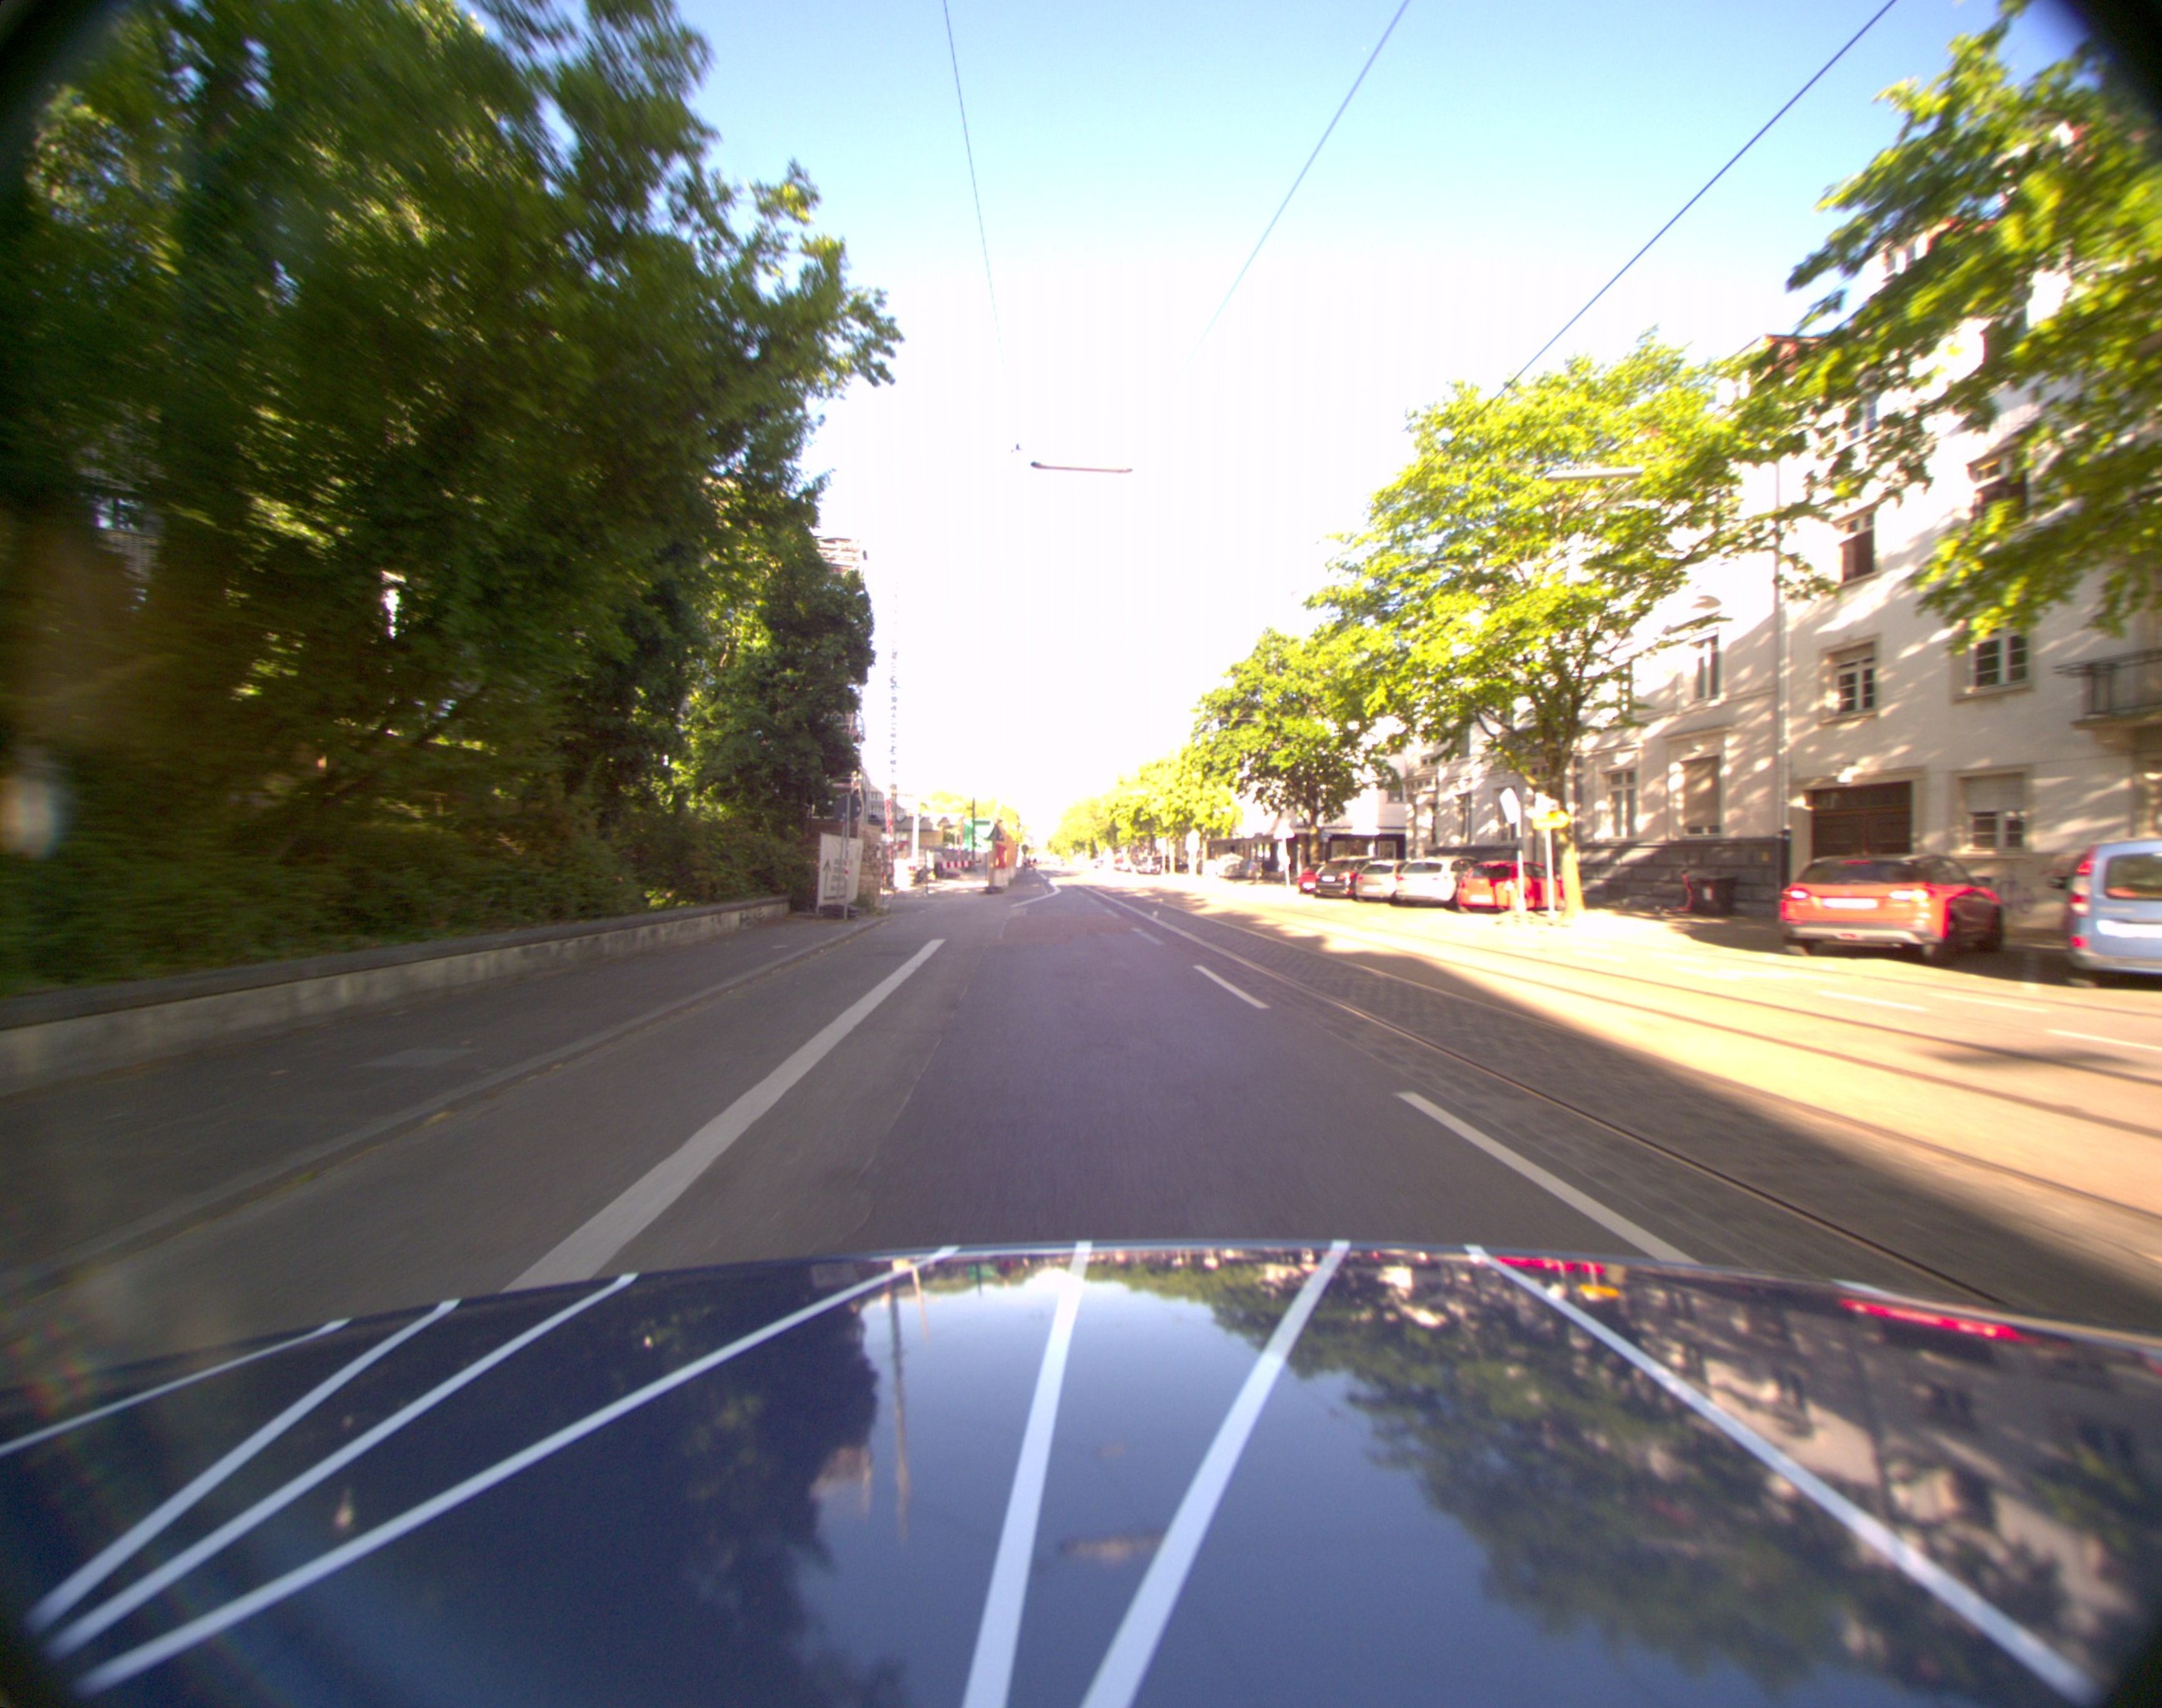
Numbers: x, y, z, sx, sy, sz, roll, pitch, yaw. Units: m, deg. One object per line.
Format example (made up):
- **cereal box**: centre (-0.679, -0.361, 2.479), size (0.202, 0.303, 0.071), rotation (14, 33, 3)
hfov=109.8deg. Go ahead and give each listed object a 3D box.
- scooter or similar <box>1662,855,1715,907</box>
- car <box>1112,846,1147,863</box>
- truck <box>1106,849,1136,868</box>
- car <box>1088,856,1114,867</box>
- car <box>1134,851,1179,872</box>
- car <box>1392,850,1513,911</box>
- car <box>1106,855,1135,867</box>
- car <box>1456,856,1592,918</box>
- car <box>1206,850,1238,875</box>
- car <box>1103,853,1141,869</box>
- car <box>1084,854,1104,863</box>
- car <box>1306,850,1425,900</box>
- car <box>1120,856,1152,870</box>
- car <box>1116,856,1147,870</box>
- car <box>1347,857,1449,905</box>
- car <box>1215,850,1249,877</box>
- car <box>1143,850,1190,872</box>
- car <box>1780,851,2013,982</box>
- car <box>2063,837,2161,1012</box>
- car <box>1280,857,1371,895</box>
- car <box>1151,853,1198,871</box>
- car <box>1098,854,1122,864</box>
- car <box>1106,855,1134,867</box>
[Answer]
- **scooter or similar**: centre (16.301, 0.695, 20.421), size (0.401, 1.349, 1.286), rotation (1, 0, 1)
- **car**: centre (5.846, 0.052, 91.156), size (3.806, 1.927, 1.671), rotation (-2, 1, -9)
- **truck**: centre (5.546, 0.609, 105.624), size (3.772, 2.409, 1.672), rotation (-2, 1, -4)
- **car**: centre (3.210, 1.112, 120.715), size (3.773, 1.584, 1.671), rotation (-2, 1, -9)
- **car**: centre (7.802, 0.747, 78.500), size (4.309, 1.940, 1.671), rotation (-2, 1, -9)
- **car**: centre (12.203, 0.799, 24.873), size (4.208, 1.714, 1.780), rotation (-3, 2, -36)
- **car**: centre (5.636, 0.975, 108.807), size (3.773, 1.584, 1.671), rotation (-2, 1, -9)
- **car**: centre (12.885, 0.893, 22.034), size (4.208, 1.549, 1.636), rotation (-2, 1, -32)
- **car**: centre (10.958, 0.673, 59.150), size (1.672, 1.886, 3.214), rotation (0, 0, -4)
- **car**: centre (4.831, 0.812, 89.077), size (4.102, 1.767, 1.671), rotation (-2, 1, -9)
- **car**: centre (2.454, 0.807, 144.609), size (3.622, 1.492, 1.503), rotation (-2, 1, -9)
- **car**: centre (11.332, 0.783, 30.229), size (4.365, 1.704, 1.944), rotation (-2, 1, -27)
- **car**: centre (7.066, 1.177, 98.157), size (3.773, 1.584, 1.671), rotation (-2, 1, -9)
- **car**: centre (6.675, 1.160, 100.396), size (3.773, 1.584, 1.671), rotation (-2, 1, -9)
- **car**: centre (11.630, 0.928, 27.811), size (3.772, 1.511, 1.744), rotation (-3, 2, -37)
- **car**: centre (10.964, 0.684, 55.446), size (1.672, 1.886, 3.214), rotation (0, 0, -4)
- **car**: centre (8.455, 0.673, 75.483), size (4.309, 1.940, 1.671), rotation (-2, 1, -9)
- **car**: centre (13.061, 0.870, 12.114), size (4.207, 1.627, 1.739), rotation (-3, 0, -32)
- **car**: centre (13.463, 0.735, 9.203), size (4.208, 1.788, 1.781), rotation (-3, 2, -36)
- **car**: centre (10.916, 0.926, 33.798), size (4.007, 1.477, 1.777), rotation (-2, 1, -35)
- **car**: centre (8.888, 0.731, 72.346), size (4.102, 1.561, 1.671), rotation (-2, 1, -9)
- **car**: centre (4.856, 0.855, 129.424), size (3.773, 1.584, 1.671), rotation (-2, 1, -9)
- **car**: centre (5.739, 0.959, 112.001), size (3.773, 1.584, 1.671), rotation (-2, 1, -9)
